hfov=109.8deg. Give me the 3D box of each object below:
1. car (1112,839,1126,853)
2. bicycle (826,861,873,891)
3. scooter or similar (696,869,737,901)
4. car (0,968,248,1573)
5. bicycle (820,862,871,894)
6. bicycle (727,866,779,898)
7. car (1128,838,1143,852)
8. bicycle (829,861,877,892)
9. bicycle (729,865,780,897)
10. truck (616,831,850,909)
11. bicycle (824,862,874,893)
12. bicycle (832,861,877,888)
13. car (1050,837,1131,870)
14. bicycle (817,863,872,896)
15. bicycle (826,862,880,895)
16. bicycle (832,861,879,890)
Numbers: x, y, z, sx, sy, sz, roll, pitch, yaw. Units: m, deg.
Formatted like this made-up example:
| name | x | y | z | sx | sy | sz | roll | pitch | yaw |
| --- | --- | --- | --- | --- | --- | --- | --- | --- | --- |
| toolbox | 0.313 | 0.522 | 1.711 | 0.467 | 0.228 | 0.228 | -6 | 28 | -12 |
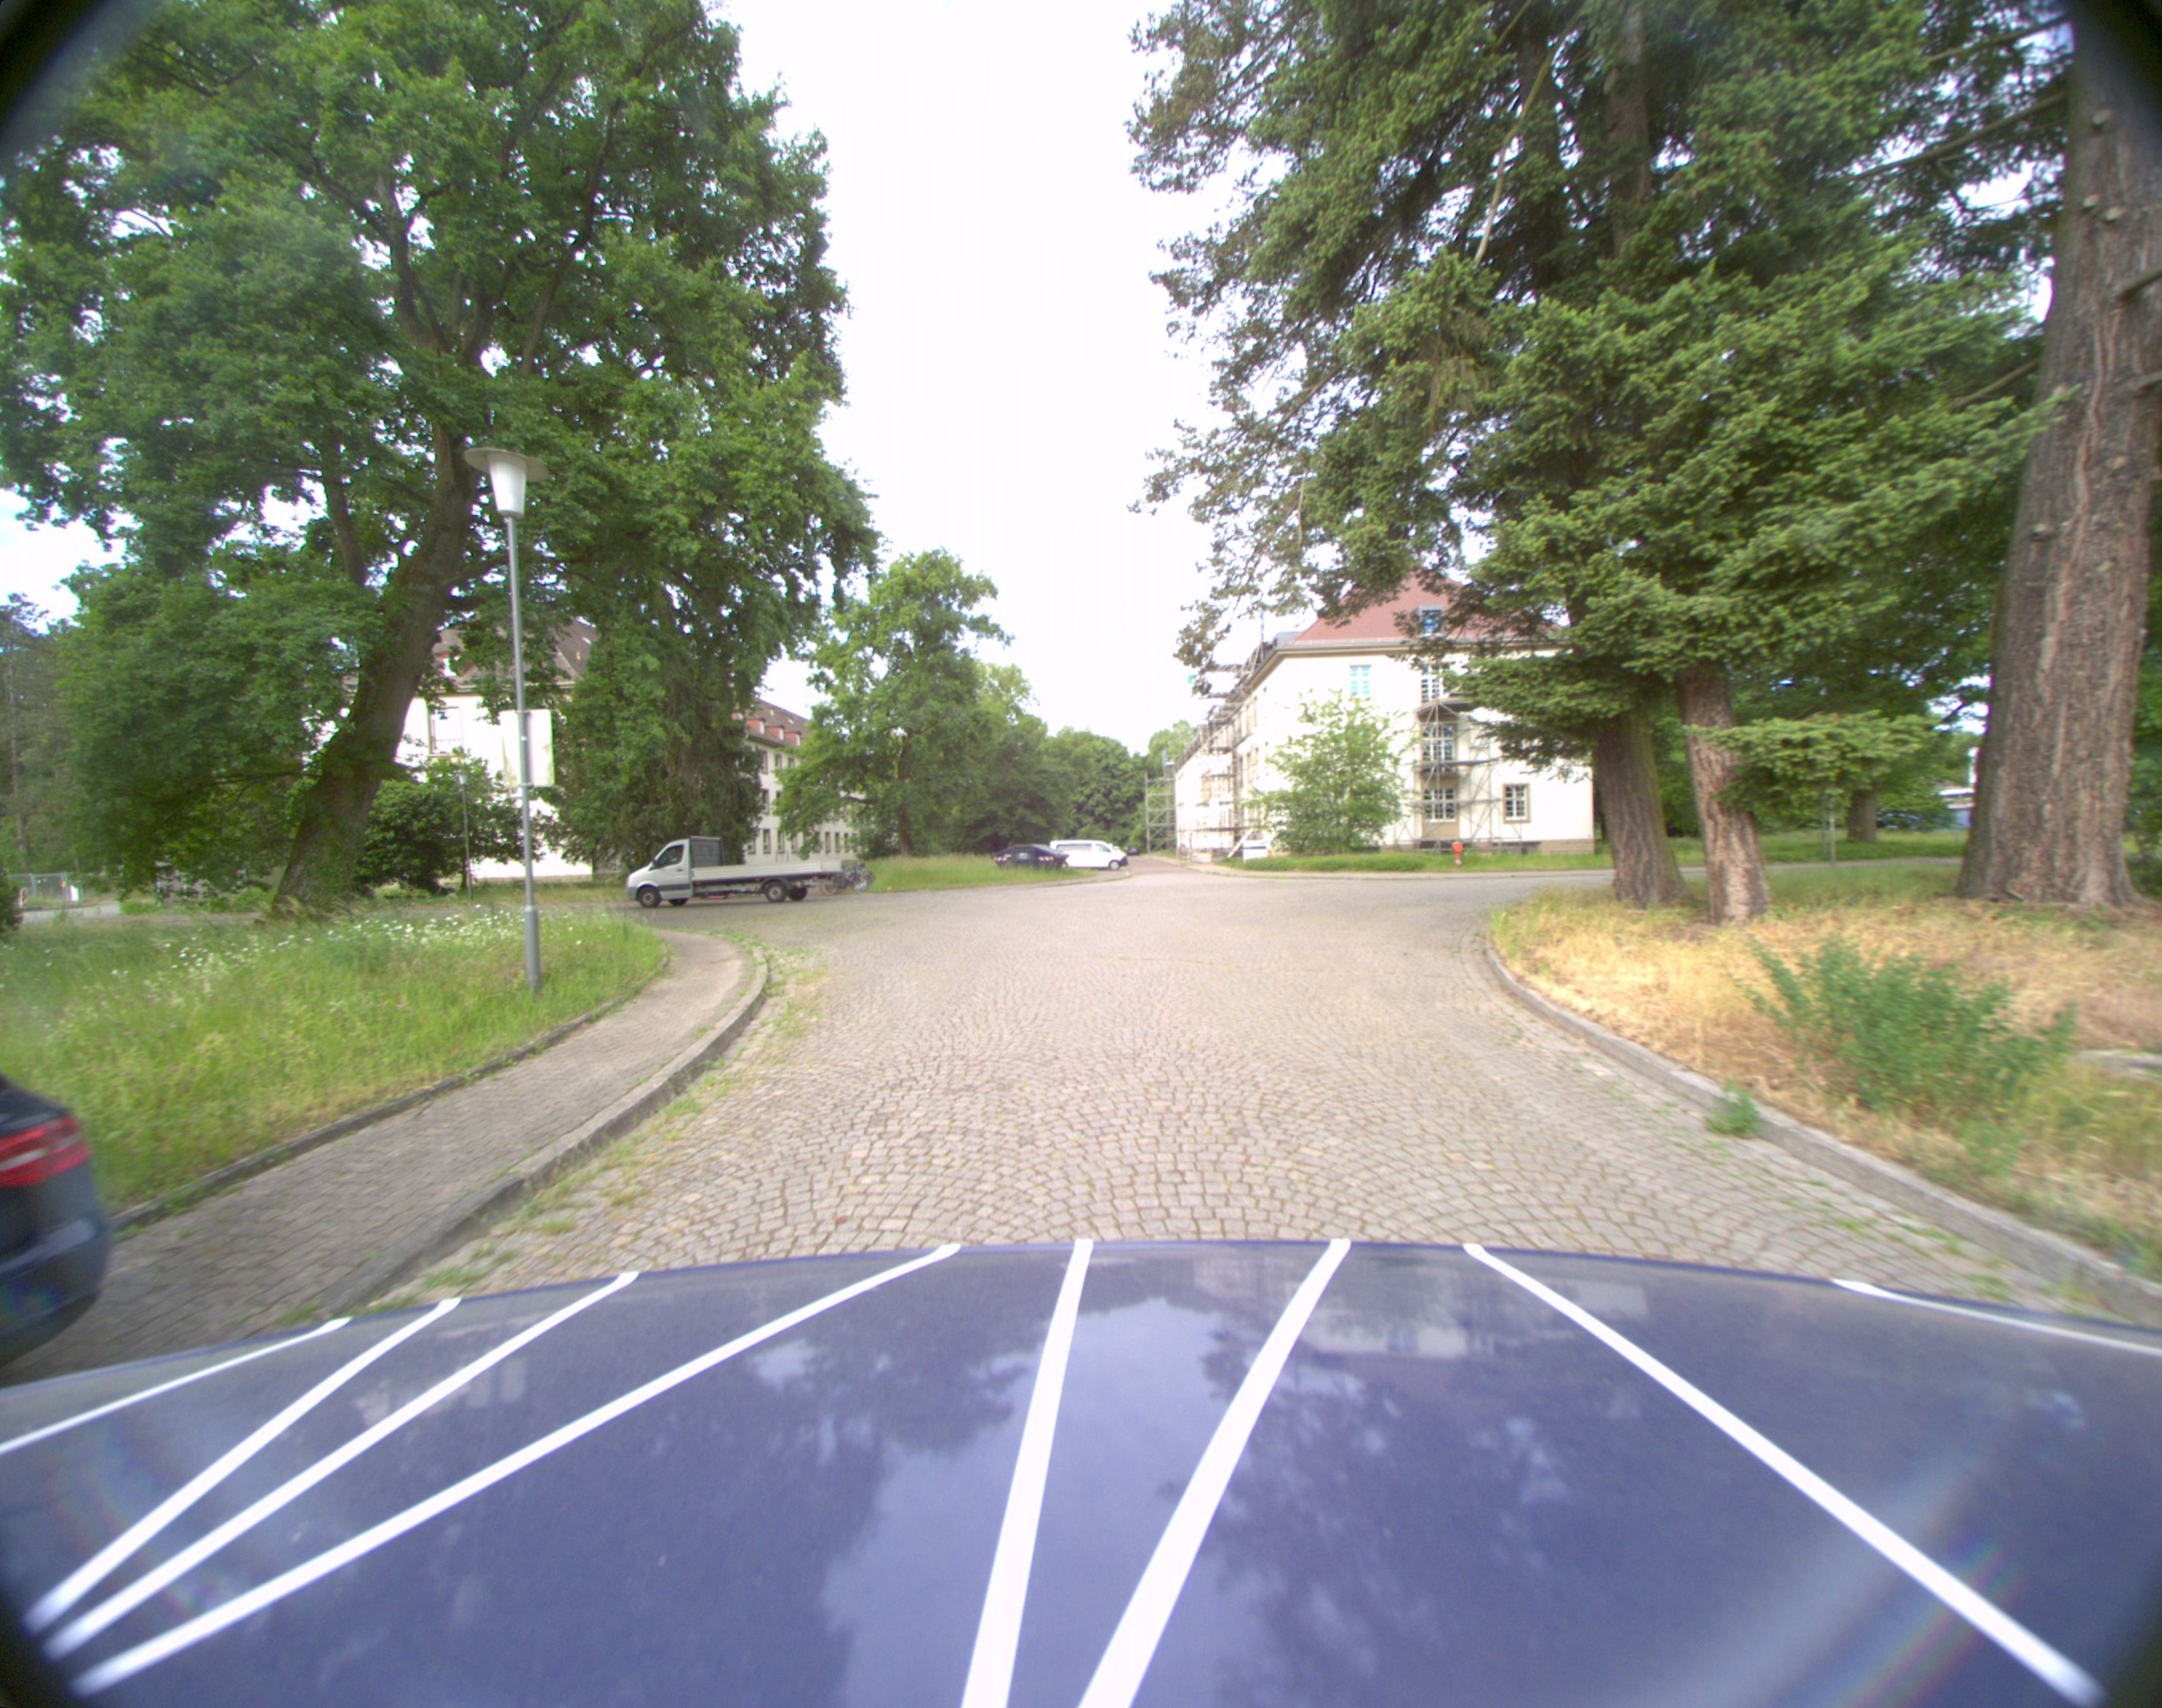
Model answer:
| name | x | y | z | sx | sy | sz | roll | pitch | yaw |
| --- | --- | --- | --- | --- | --- | --- | --- | --- | --- |
| car | 5.763 | -1.277 | 116.261 | 1.962 | 2.002 | 4.260 | -1 | 1 | 1 |
| bicycle | -10.363 | 0.977 | 34.023 | 1.941 | 1.163 | 0.487 | -4 | 2 | -20 |
| scooter or similar | -14.335 | 1.233 | 29.886 | 1.307 | 1.163 | 0.413 | -3 | 2 | 1 |
| car | -4.926 | 1.133 | 1.602 | 4.366 | 1.431 | 1.927 | -1 | 1 | 4 |
| bicycle | -9.836 | 0.989 | 31.756 | 1.941 | 1.163 | 0.487 | -4 | 2 | -23 |
| bicycle | -13.221 | 1.118 | 30.628 | 1.861 | 1.163 | 0.487 | -3 | 1 | -24 |
| car | 8.305 | -1.372 | 116.417 | 1.962 | 2.002 | 4.260 | -1 | 1 | 1 |
| bicycle | -9.946 | 0.969 | 33.154 | 1.941 | 1.163 | 0.487 | -4 | 2 | -20 |
| bicycle | -13.403 | 1.093 | 31.201 | 1.861 | 1.163 | 0.487 | -3 | 1 | -24 |
| truck | -11.817 | 0.538 | 26.095 | 7.081 | 2.353 | 1.993 | -2 | 0 | 2 |
| bicycle | -9.876 | 0.980 | 32.371 | 1.941 | 1.163 | 0.487 | -4 | 2 | -23 |
| bicycle | -10.670 | 0.960 | 35.885 | 1.940 | 1.163 | 0.537 | -4 | 2 | -14 |
| car | 0.645 | -0.061 | 50.231 | 5.148 | 2.002 | 2.000 | -1 | 1 | 2 |
| bicycle | -9.374 | 0.994 | 30.144 | 1.942 | 1.163 | 0.487 | -4 | 2 | -25 |
| bicycle | -9.239 | 0.971 | 30.817 | 1.942 | 1.163 | 0.487 | -4 | 2 | -25 |
| bicycle | -10.273 | 0.960 | 34.633 | 1.941 | 1.163 | 0.487 | -4 | 2 | -20 |
